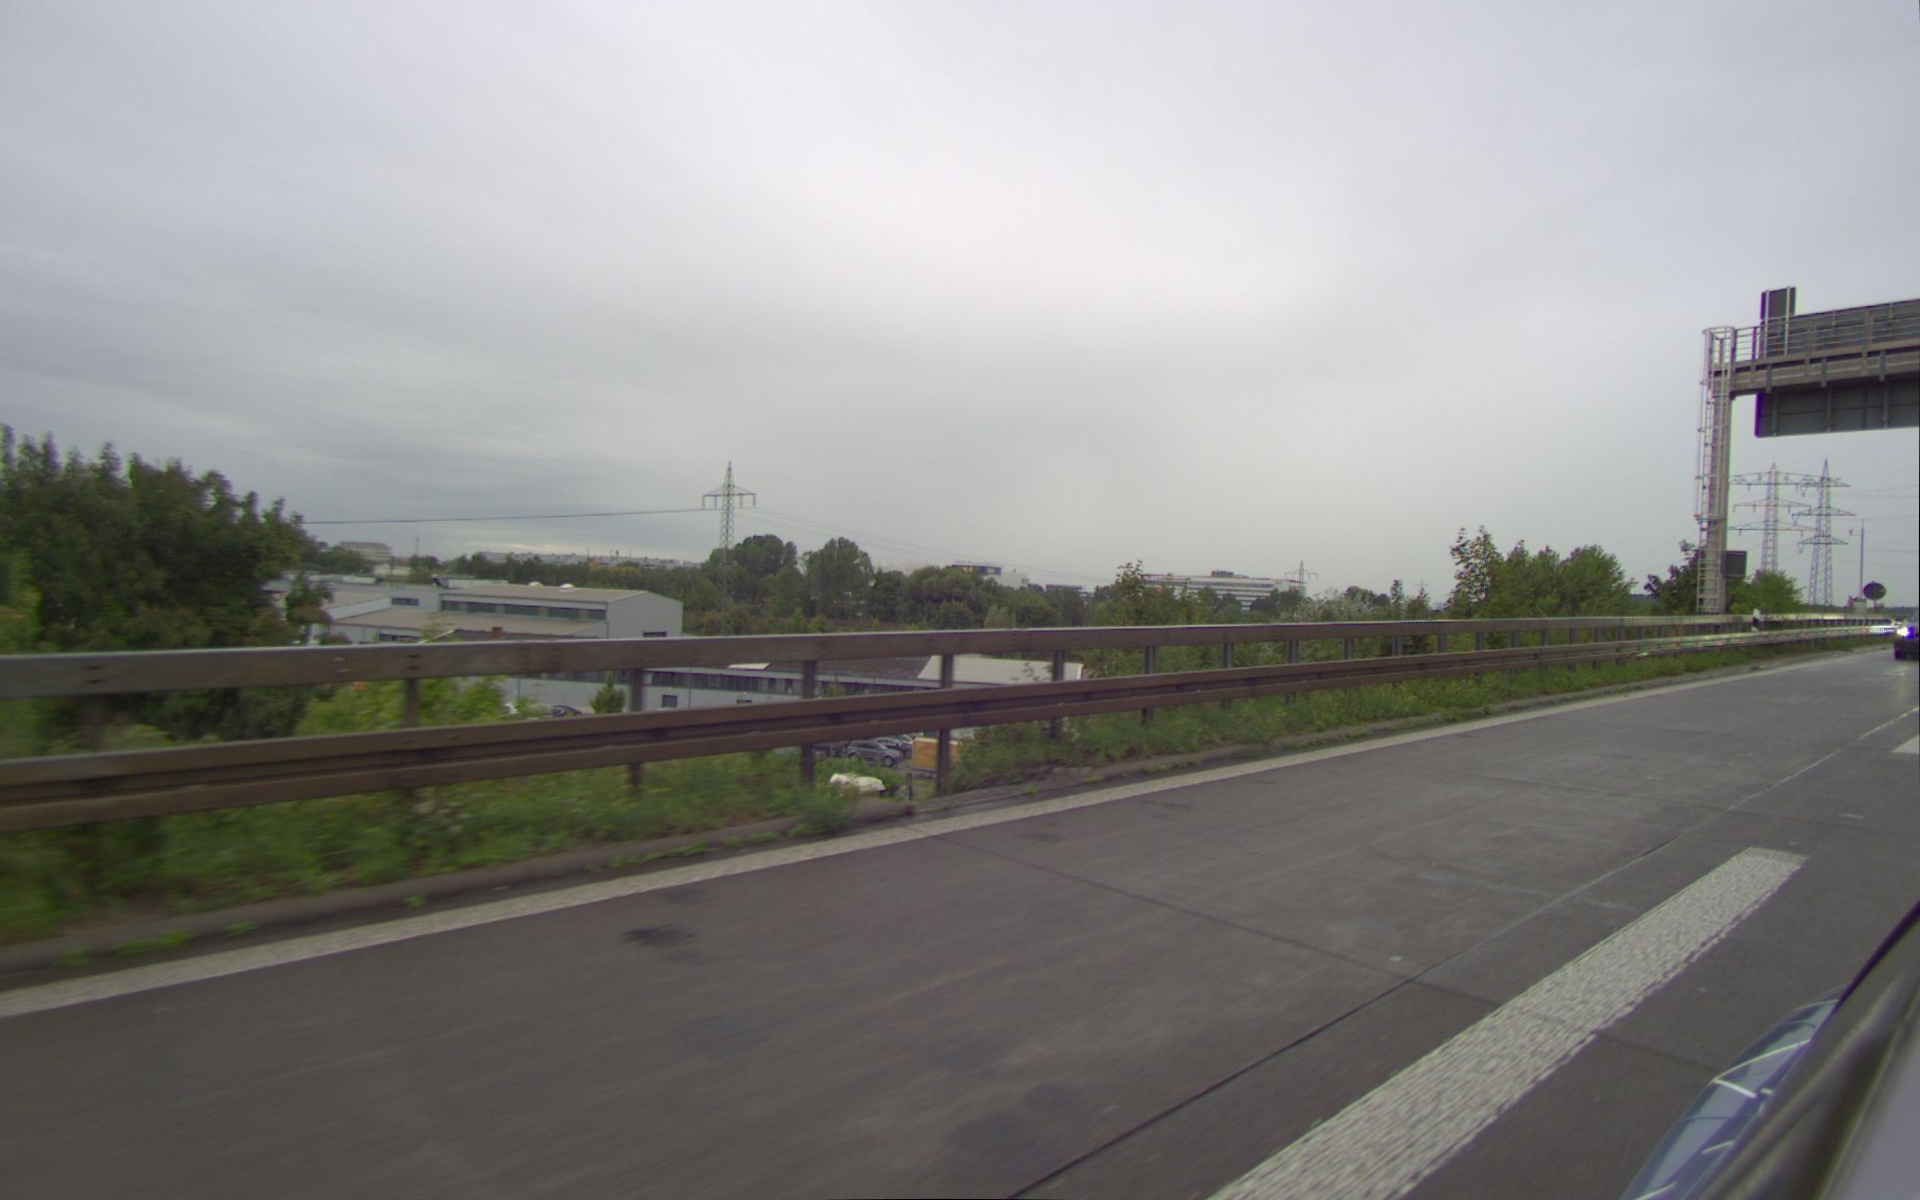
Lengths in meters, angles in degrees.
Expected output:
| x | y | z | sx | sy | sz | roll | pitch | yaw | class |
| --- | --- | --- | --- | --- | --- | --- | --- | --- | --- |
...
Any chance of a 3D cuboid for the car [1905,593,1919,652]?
| x | y | z | sx | sy | sz | roll | pitch | yaw | class |
| --- | --- | --- | --- | --- | --- | --- | --- | --- | --- |
| 27.448 | 0.629 | 27.790 | 4.131 | 1.560 | 1.860 | 1 | -1 | -42 | car |
